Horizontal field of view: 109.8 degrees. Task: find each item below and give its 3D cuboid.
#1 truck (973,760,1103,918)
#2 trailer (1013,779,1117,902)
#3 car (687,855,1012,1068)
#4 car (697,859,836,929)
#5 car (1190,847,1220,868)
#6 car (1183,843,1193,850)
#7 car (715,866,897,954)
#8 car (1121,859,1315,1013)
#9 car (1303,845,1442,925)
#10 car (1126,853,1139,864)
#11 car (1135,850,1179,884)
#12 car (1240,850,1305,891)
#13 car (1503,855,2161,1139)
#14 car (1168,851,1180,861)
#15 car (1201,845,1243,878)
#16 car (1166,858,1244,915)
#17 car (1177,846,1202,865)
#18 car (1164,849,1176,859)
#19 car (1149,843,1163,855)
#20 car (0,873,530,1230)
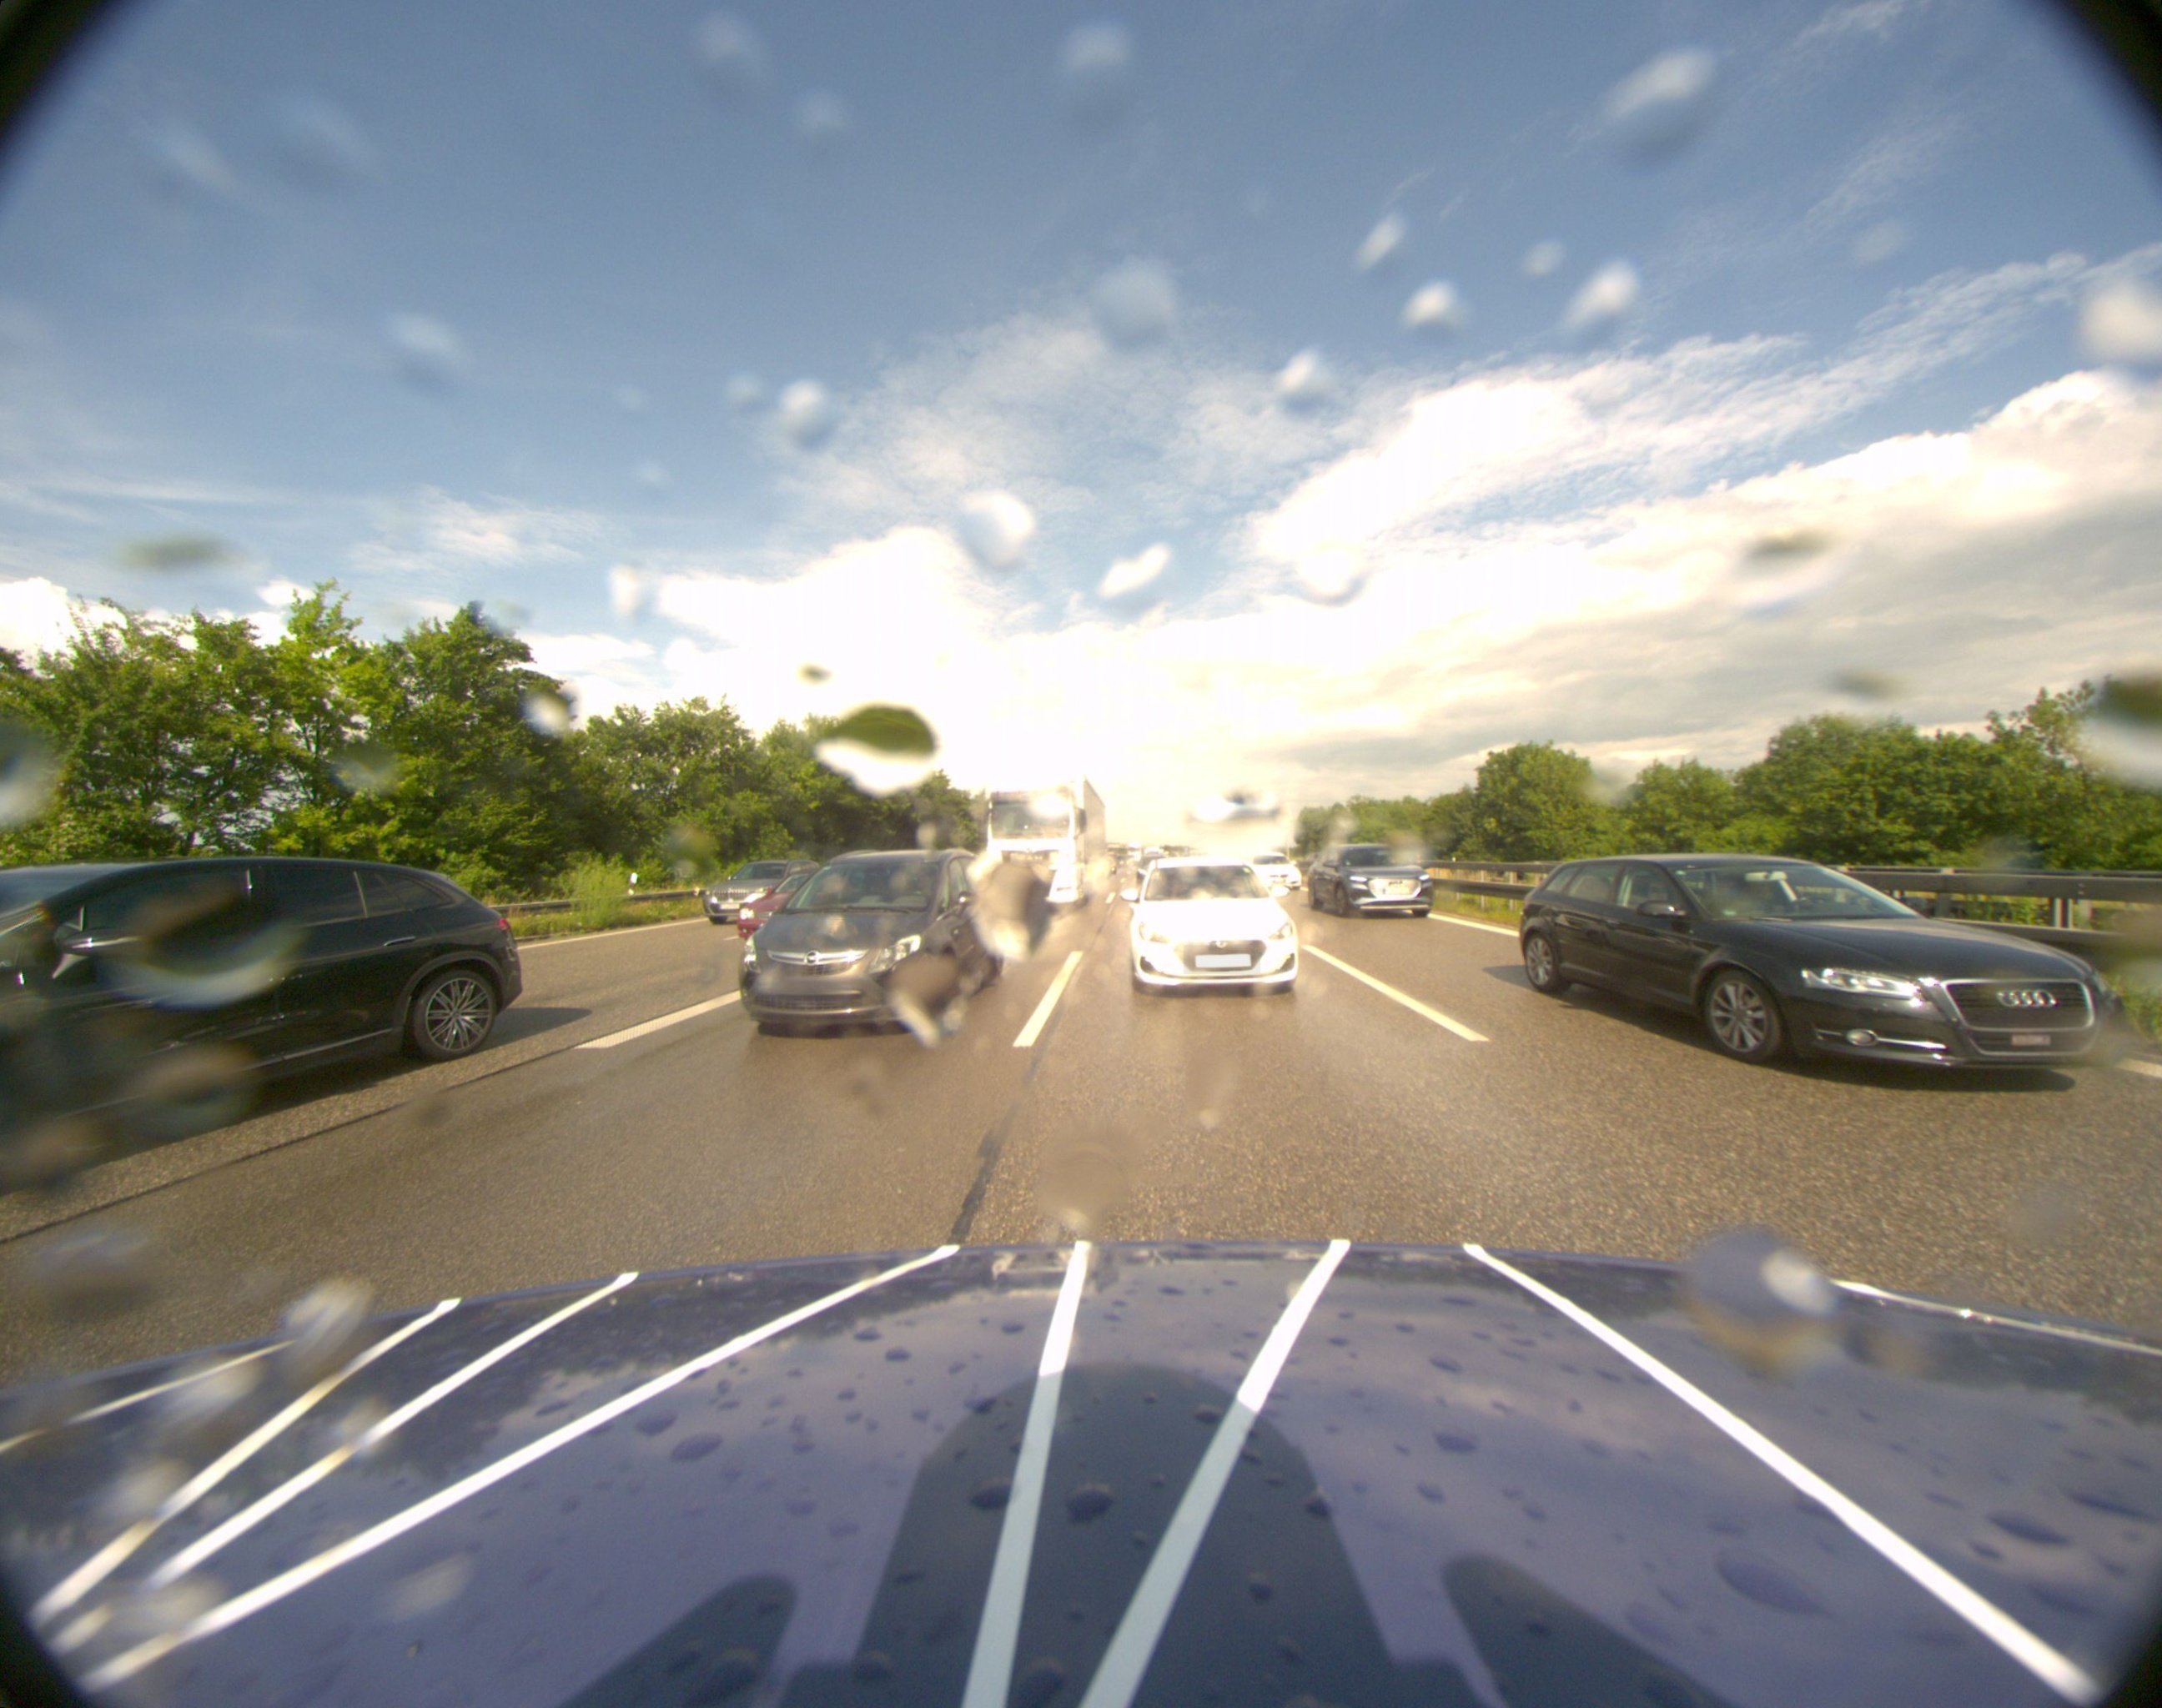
[{"bbox_3d":[-1.051,-0.424,23.870,2.816,4.083,7.447,-2,1,6],"label":"truck"},{"bbox_3d":[-0.284,-0.528,31.570,2.789,4.083,11.542,-2,1,6],"label":"trailer"},{"bbox_3d":[-2.048,0.867,8.240,1.883,1.638,4.397,-1,0,4],"label":"car"},{"bbox_3d":[-8.375,1.005,20.704,1.752,1.577,4.287,-2,1,3],"label":"car"},{"bbox_3d":[10.185,0.268,62.573,1.998,1.471,4.000,-3,1,4],"label":"car"},{"bbox_3d":[26.710,-1.799,189.458,1.998,1.768,4.462,-2,0,4],"label":"car"},{"bbox_3d":[-5.421,1.032,15.714,1.755,1.402,4.512,-2,0,5],"label":"car"},{"bbox_3d":[1.510,0.833,9.837,1.885,1.446,4.549,-1,0,4],"label":"car"},{"bbox_3d":[6.549,0.612,17.593,1.874,1.597,4.230,-2,1,5],"label":"car"},{"bbox_3d":[8.639,0.738,127.930,1.998,1.687,4.000,-3,1,4],"label":"car"},{"bbox_3d":[3.640,0.599,36.928,1.998,1.477,4.000,-1,1,4],"label":"car"},{"bbox_3d":[7.444,0.602,29.842,1.771,1.371,4.000,-1,1,4],"label":"car"},{"bbox_3d":[5.283,0.779,6.090,1.770,1.417,4.139,-2,1,5],"label":"car"},{"bbox_3d":[16.741,0.323,136.960,1.998,1.687,4.000,-3,1,4],"label":"car"},{"bbox_3d":[8.569,0.420,46.495,1.998,1.739,4.000,-3,1,4],"label":"car"},{"bbox_3d":[3.321,0.810,21.023,1.728,1.330,4.288,-1,0,4],"label":"car"},{"bbox_3d":[10.660,0.094,74.866,1.998,1.687,4.000,-3,1,4],"label":"car"},{"bbox_3d":[17.723,-0.001,151.808,1.998,1.687,4.000,-3,1,4],"label":"car"},{"bbox_3d":[12.074,-0.783,122.501,1.998,1.687,4.000,-3,1,4],"label":"car"},{"bbox_3d":[-6.017,0.991,4.411,1.998,1.572,4.654,-1,0,4],"label":"car"}]
